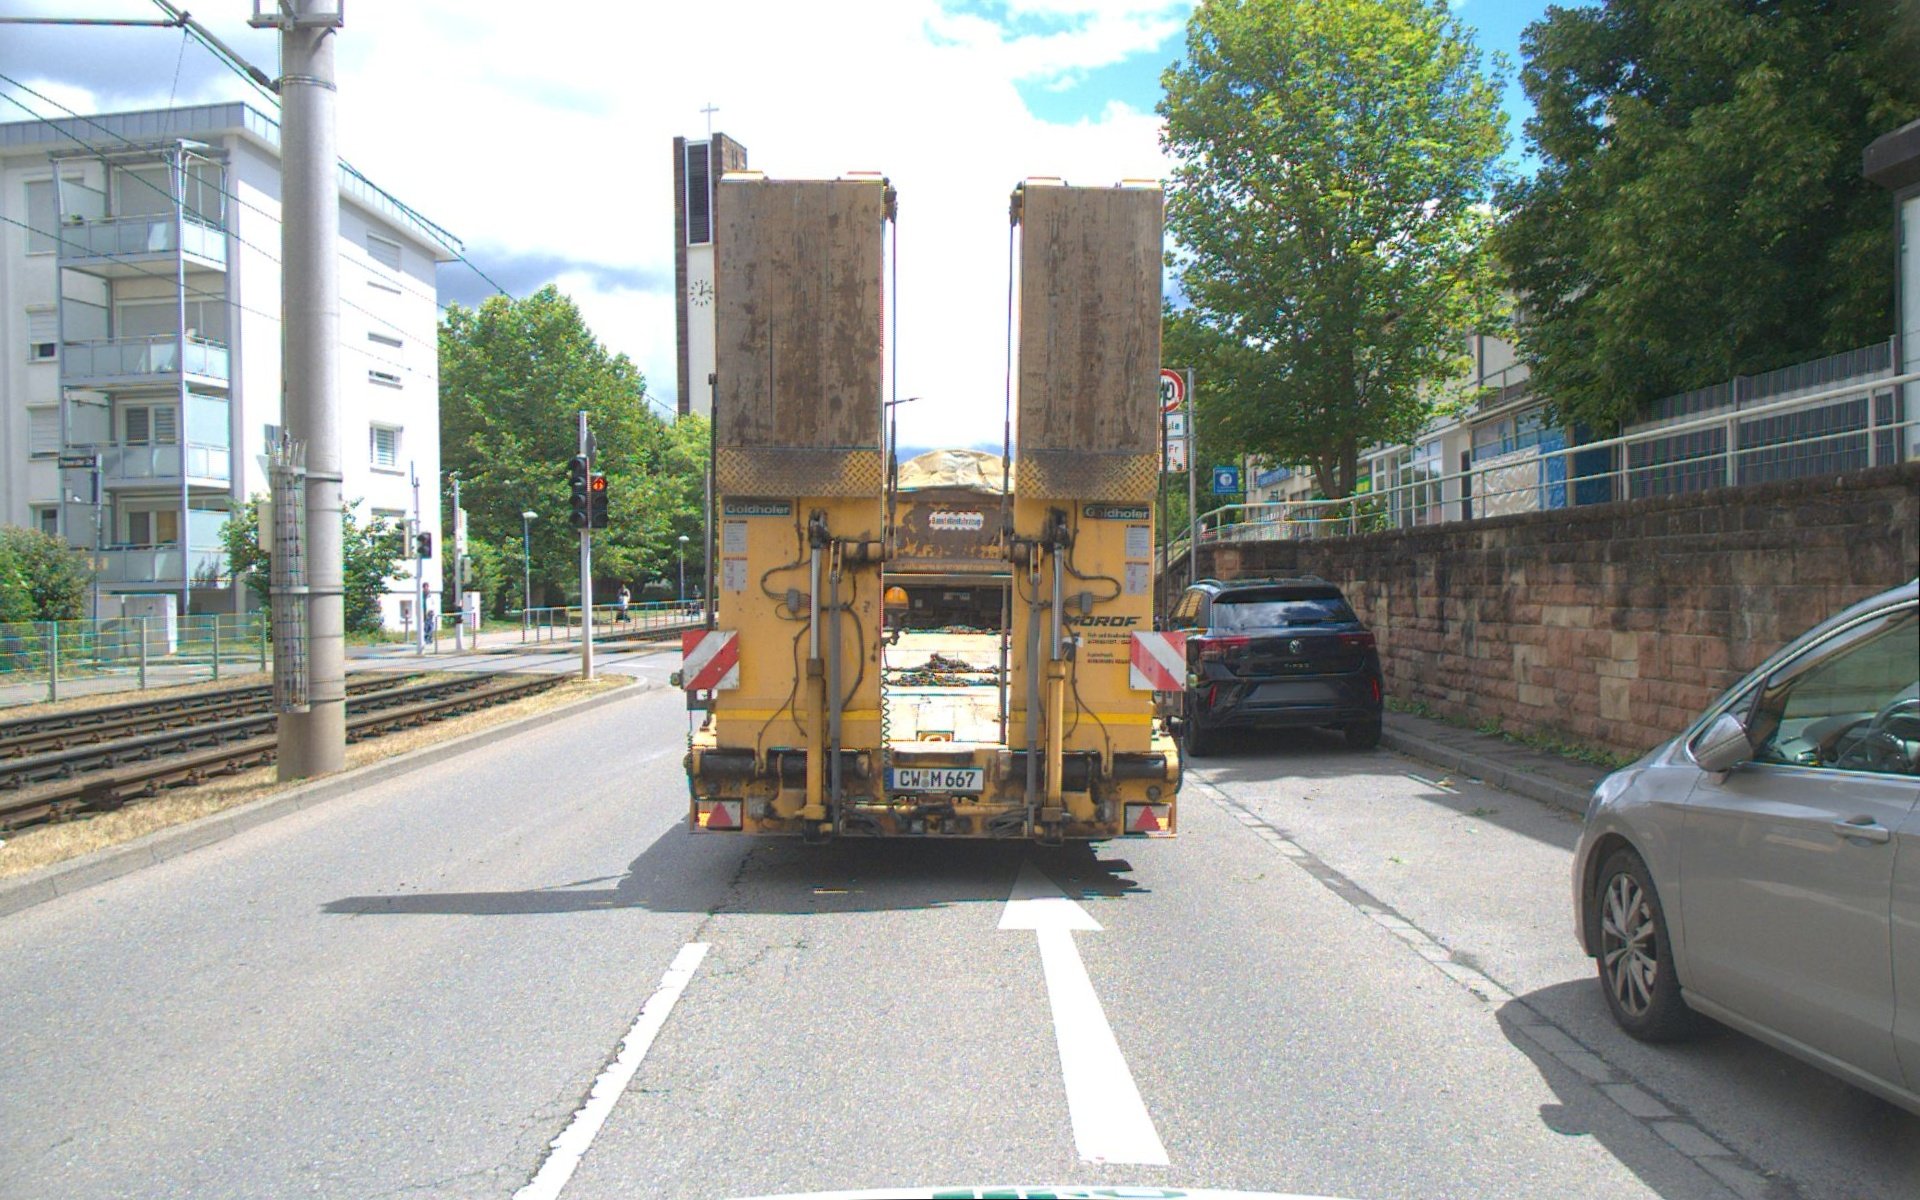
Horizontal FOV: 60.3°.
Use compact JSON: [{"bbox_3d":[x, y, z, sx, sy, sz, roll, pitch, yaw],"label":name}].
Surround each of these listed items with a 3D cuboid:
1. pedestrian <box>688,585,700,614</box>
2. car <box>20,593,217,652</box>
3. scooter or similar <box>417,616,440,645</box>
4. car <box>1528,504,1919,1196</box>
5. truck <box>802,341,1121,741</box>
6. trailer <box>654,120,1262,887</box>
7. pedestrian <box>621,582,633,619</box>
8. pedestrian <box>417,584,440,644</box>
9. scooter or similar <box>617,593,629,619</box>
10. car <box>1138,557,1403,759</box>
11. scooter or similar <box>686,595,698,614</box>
[{"bbox_3d":[-14.125,-0.039,87.864,0.552,1.540,0.645,1,0,-2],"label":"pedestrian"},{"bbox_3d":[-20.613,0.543,40.600,3.902,1.369,1.903,-1,0,7],"label":"car"},{"bbox_3d":[-14.270,0.805,44.417,0.428,0.760,0.475,-1,0,4],"label":"scooter or similar"},{"bbox_3d":[3.133,0.567,4.241,1.754,1.646,4.247,-2,1,-2],"label":"car"},{"bbox_3d":[0.004,-0.565,17.631,2.882,3.635,4.876,-1,0,0],"label":"truck"},{"bbox_3d":[0.005,-0.508,12.320,2.885,3.664,8.684,-1,0,0],"label":"trailer"},{"bbox_3d":[-14.330,0.025,71.210,0.341,1.564,0.557,-1,0,3],"label":"pedestrian"},{"bbox_3d":[-14.424,0.375,44.906,0.428,1.608,0.475,-1,0,4],"label":"pedestrian"},{"bbox_3d":[-14.364,0.265,70.564,0.331,1.076,0.688,-1,0,2],"label":"scooter or similar"},{"bbox_3d":[2.885,0.482,16.228,1.813,1.668,4.000,-2,0,0],"label":"car"},{"bbox_3d":[-14.137,0.236,87.215,0.495,0.988,0.645,1,0,-2],"label":"scooter or similar"}]
